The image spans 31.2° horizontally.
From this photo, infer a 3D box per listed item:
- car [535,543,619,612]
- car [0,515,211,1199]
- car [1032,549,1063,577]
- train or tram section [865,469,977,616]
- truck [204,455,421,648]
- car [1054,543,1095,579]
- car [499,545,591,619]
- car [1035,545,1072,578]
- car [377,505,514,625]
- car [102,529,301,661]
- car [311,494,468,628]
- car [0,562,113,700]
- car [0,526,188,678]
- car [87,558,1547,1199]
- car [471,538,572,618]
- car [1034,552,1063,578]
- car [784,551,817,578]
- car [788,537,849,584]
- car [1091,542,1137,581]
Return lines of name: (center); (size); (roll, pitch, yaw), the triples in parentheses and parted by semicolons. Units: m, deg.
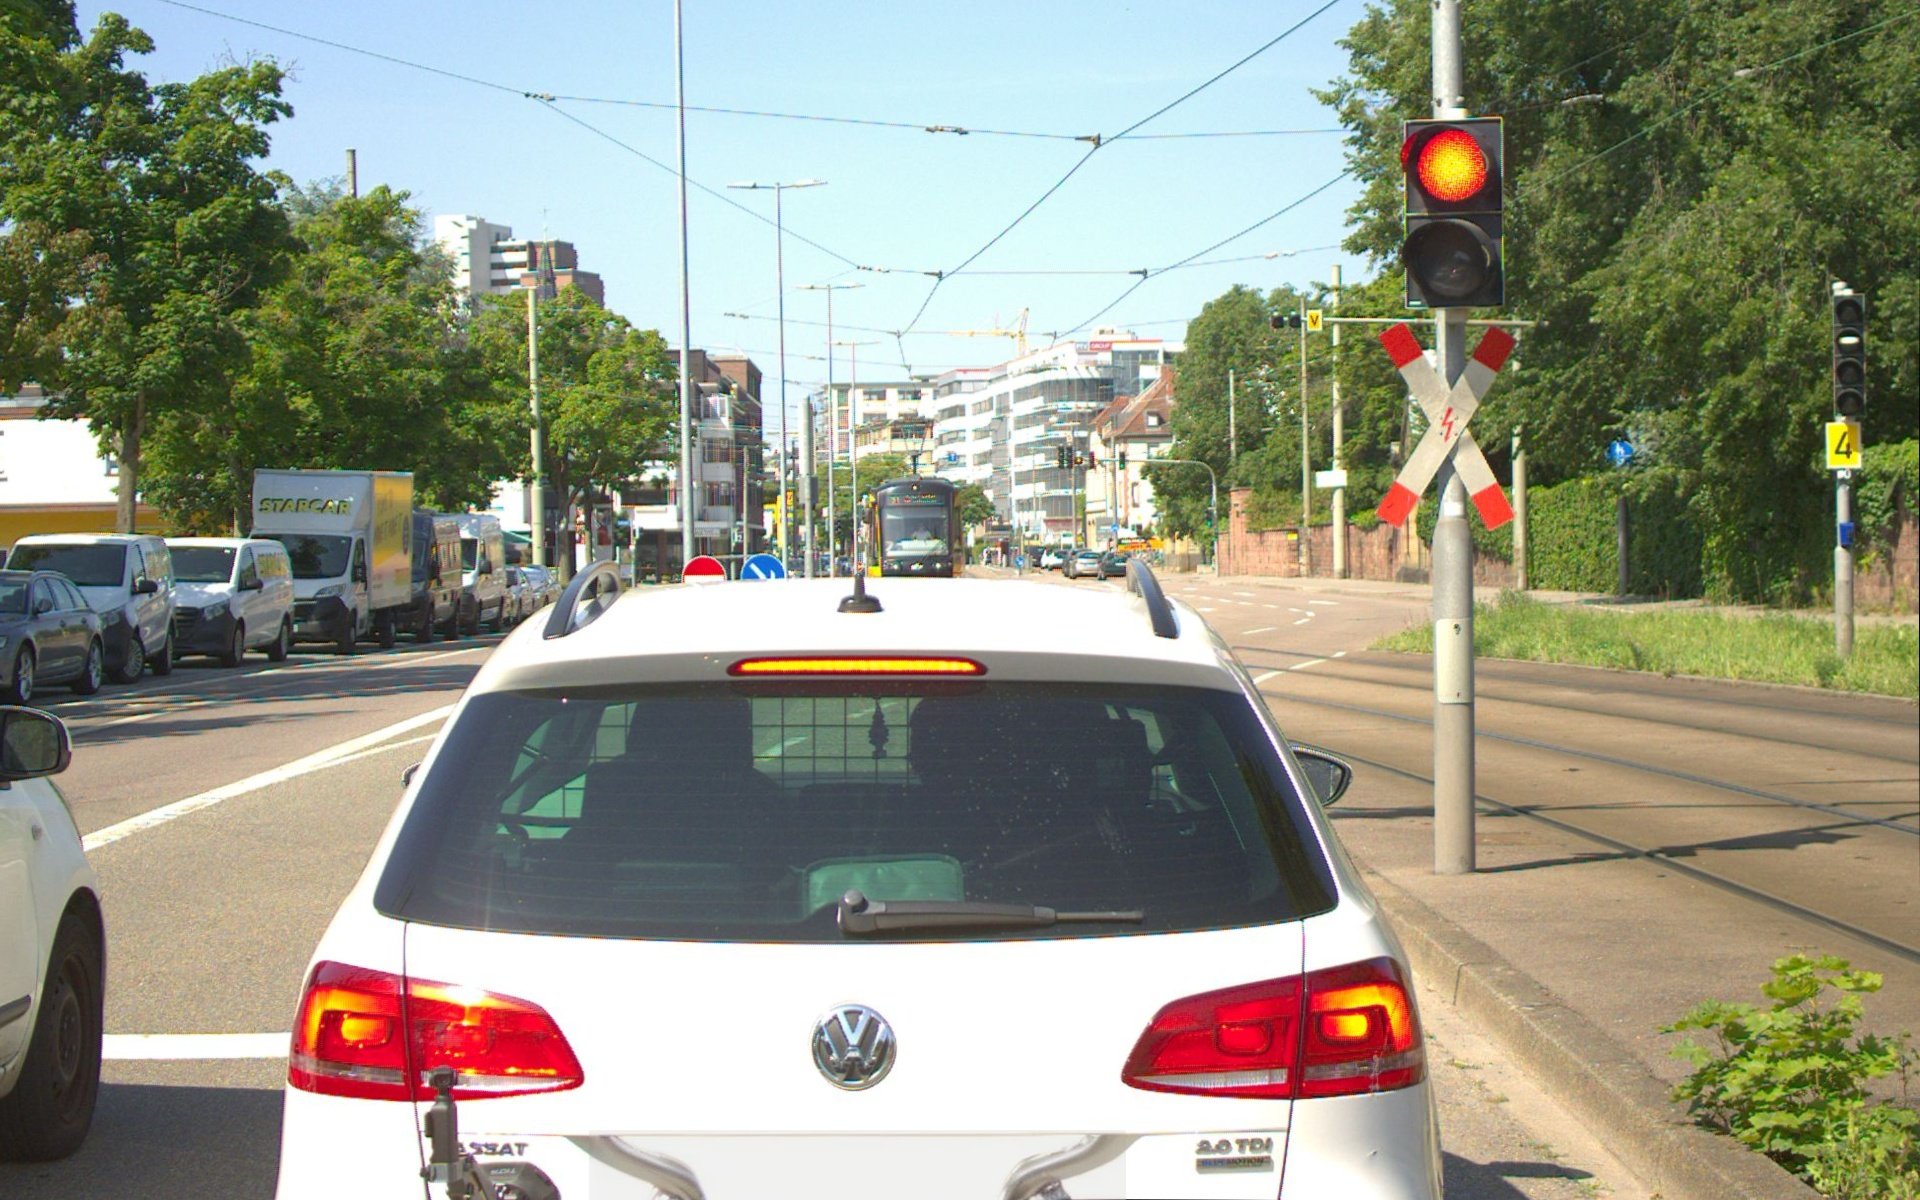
car: (-10.953, -0.676, 98.600); (1.863, 1.861, 5.414); (1, 1, -1)
car: (-2.944, 0.589, 7.353); (1.662, 1.542, 4.547); (0, 1, 0)
car: (6.074, -2.571, 239.150); (1.863, 1.861, 5.062); (1, 1, -1)
train or tram section: (-1.116, -1.639, 97.356); (2.870, 3.842, 12.392); (-1, 1, -1)
truck: (-11.253, -0.863, 60.315); (2.421, 3.139, 6.997); (1, 1, 0)
car: (6.149, -2.106, 184.901); (1.863, 1.861, 5.062); (1, 1, -1)
car: (-11.032, -0.517, 91.684); (1.863, 1.861, 5.414); (1, 1, -1)
car: (5.450, -2.264, 200.236); (1.863, 1.861, 5.062); (1, 1, -1)
car: (-11.274, -0.790, 75.755); (2.123, 2.508, 5.733); (1, 1, 0)
car: (-11.376, -0.120, 51.901); (1.863, 1.861, 5.414); (1, 1, -1)
car: (-11.267, -0.802, 68.317); (2.123, 2.508, 5.733); (1, 1, 0)
car: (-10.956, 0.300, 38.647); (1.863, 1.411, 4.280); (1, 1, -1)
car: (-11.447, -0.026, 45.314); (1.863, 1.861, 5.075); (1, 1, -6)
car: (-0.186, 0.672, 6.198); (1.762, 1.425, 4.000); (-1, 1, -1)
car: (-10.779, -0.569, 84.868); (1.863, 1.861, 5.414); (1, 1, -1)
car: (6.622, -2.650, 257.894); (1.863, 1.861, 5.062); (1, 1, -1)
car: (-9.301, -2.089, 200.138); (1.705, 1.468, 4.590); (-2, 1, -5)
car: (-4.611, -1.304, 112.411); (1.705, 1.468, 4.589); (-2, 1, 1)
car: (7.539, -1.899, 168.581); (1.863, 1.861, 5.062); (1, 1, -1)
